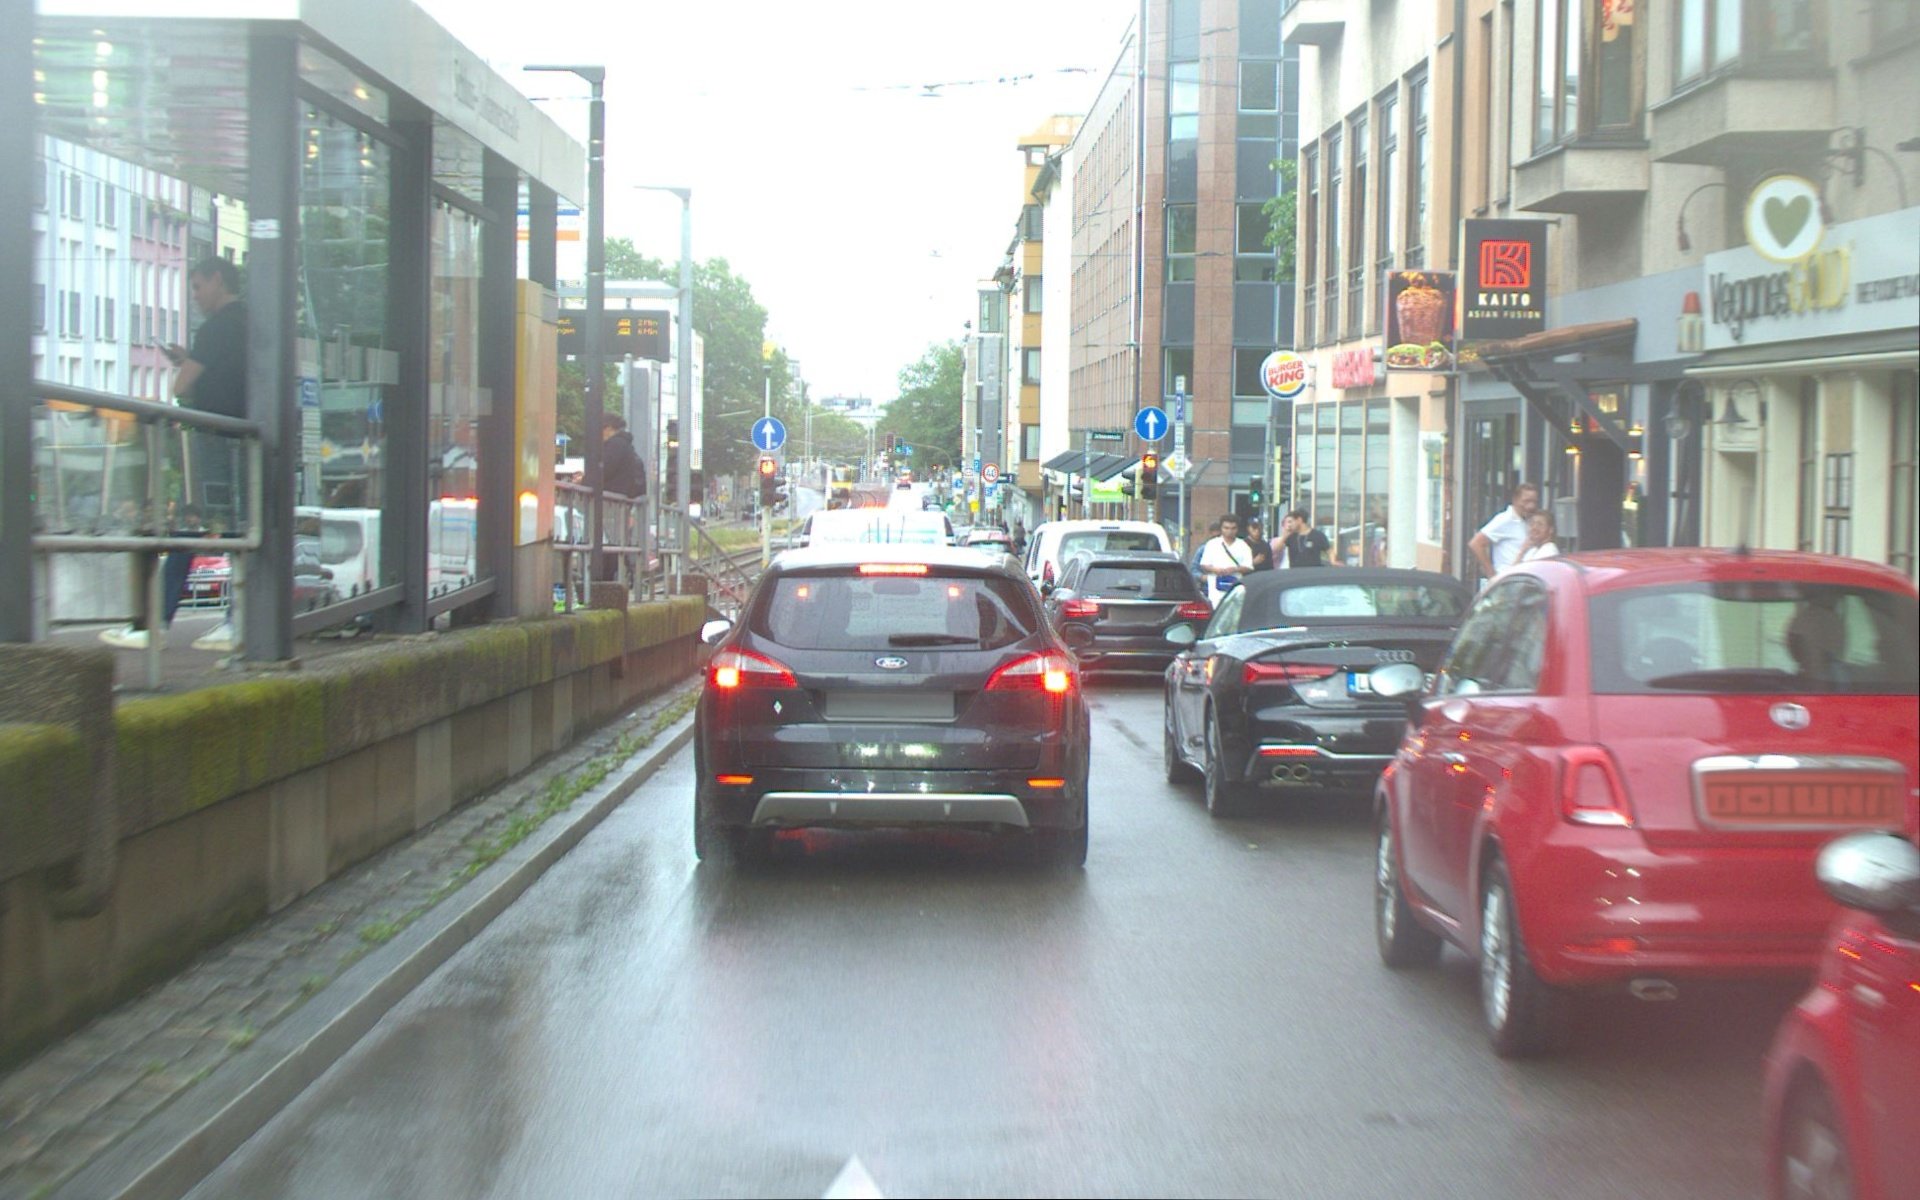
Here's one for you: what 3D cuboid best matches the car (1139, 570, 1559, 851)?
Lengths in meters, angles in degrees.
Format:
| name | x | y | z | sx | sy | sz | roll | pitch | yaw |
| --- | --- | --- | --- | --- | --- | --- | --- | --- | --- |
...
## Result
| name | x | y | z | sx | sy | sz | roll | pitch | yaw |
| --- | --- | --- | --- | --- | --- | --- | --- | --- | --- |
| car | 2.173 | 0.570 | 20.363 | 1.906 | 1.457 | 4.246 | 0 | 1 | -1 |

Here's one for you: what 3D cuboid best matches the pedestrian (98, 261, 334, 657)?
| name | x | y | z | sx | sy | sz | roll | pitch | yaw |
| --- | --- | --- | --- | --- | --- | --- | --- | --- | --- |
| pedestrian | -3.303 | -0.620 | 15.327 | 0.916 | 1.718 | 0.701 | 0 | 1 | -3 |

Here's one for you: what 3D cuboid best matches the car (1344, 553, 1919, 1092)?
| name | x | y | z | sx | sy | sz | roll | pitch | yaw |
| --- | --- | --- | --- | --- | --- | --- | --- | --- | --- |
| car | 2.261 | 0.581 | 11.037 | 1.645 | 1.457 | 3.414 | 0 | 1 | 0 |

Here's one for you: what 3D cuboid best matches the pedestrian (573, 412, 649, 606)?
| name | x | y | z | sx | sy | sz | roll | pitch | yaw |
| --- | --- | --- | --- | --- | --- | --- | --- | --- | --- |
| pedestrian | -2.916 | -0.757 | 28.774 | 0.583 | 1.604 | 0.701 | 0 | 1 | -3 |

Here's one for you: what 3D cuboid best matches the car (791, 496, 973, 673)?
| name | x | y | z | sx | sy | sz | roll | pitch | yaw |
| --- | --- | --- | --- | --- | --- | --- | --- | --- | --- |
| car | -0.835 | -0.201 | 38.460 | 1.906 | 1.858 | 4.574 | 0 | 1 | 0 |

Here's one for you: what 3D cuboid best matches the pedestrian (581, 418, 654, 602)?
| name | x | y | z | sx | sy | sz | roll | pitch | yaw |
| --- | --- | --- | --- | --- | --- | --- | --- | --- | --- |
| pedestrian | -2.933 | -0.767 | 29.481 | 0.583 | 1.552 | 0.701 | 0 | 1 | -3 |

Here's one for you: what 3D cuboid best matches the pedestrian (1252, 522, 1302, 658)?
| name | x | y | z | sx | sy | sz | roll | pitch | yaw |
| --- | --- | --- | --- | --- | --- | --- | --- | --- | --- |
| pedestrian | 3.998 | -0.130 | 43.350 | 0.576 | 1.708 | 0.477 | 0 | 1 | 1 |

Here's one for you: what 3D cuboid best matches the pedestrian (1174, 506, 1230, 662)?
| name | x | y | z | sx | sy | sz | roll | pitch | yaw |
| --- | --- | --- | --- | --- | --- | --- | --- | --- | --- |
| pedestrian | 3.022 | -0.202 | 42.975 | 0.651 | 1.941 | 0.533 | 0 | 1 | 1 |

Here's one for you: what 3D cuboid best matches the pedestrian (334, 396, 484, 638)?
| name | x | y | z | sx | sy | sz | roll | pitch | yaw |
| --- | --- | --- | --- | --- | --- | --- | --- | --- | --- |
| pedestrian | -3.005 | -0.452 | 18.798 | 0.728 | 1.297 | 0.701 | 0 | 1 | -3 |

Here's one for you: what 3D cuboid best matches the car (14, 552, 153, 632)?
| name | x | y | z | sx | sy | sz | roll | pitch | yaw |
| --- | --- | --- | --- | --- | --- | --- | --- | --- | --- |
| car | -15.056 | -0.156 | 59.175 | 1.638 | 1.333 | 3.736 | 0 | 1 | -3 |

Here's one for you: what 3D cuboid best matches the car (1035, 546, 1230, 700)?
| name | x | y | z | sx | sy | sz | roll | pitch | yaw |
| --- | --- | --- | --- | --- | --- | --- | --- | --- | --- |
| car | 1.844 | 0.207 | 38.070 | 1.906 | 1.610 | 4.414 | 0 | 1 | 0 |

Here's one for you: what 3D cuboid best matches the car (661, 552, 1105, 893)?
| name | x | y | z | sx | sy | sz | roll | pitch | yaw |
| --- | --- | --- | --- | --- | --- | --- | --- | --- | --- |
| car | -0.343 | 0.503 | 16.517 | 1.906 | 1.457 | 3.445 | 0 | 1 | 0 |

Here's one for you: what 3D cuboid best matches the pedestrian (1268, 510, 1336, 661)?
| name | x | y | z | sx | sy | sz | roll | pitch | yaw |
| --- | --- | --- | --- | --- | --- | --- | --- | --- | --- |
| pedestrian | 4.121 | -0.176 | 41.459 | 0.756 | 1.813 | 0.588 | 0 | 1 | 1 |

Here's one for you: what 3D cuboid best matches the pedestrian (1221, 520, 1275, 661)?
| name | x | y | z | sx | sy | sz | roll | pitch | yaw |
| --- | --- | --- | --- | --- | --- | --- | --- | --- | --- |
| pedestrian | 3.515 | -0.117 | 41.954 | 0.610 | 1.708 | 0.581 | 0 | 1 | 1 |

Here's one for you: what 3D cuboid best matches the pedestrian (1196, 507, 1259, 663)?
| name | x | y | z | sx | sy | sz | roll | pitch | yaw |
| --- | --- | --- | --- | --- | --- | --- | --- | --- | --- |
| pedestrian | 3.212 | -0.183 | 41.329 | 0.695 | 1.848 | 0.652 | 0 | 1 | 1 |

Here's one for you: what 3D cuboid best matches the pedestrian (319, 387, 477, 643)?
| name | x | y | z | sx | sy | sz | roll | pitch | yaw |
| --- | --- | --- | --- | --- | --- | --- | --- | --- | --- |
| pedestrian | -2.902 | -0.438 | 17.808 | 0.728 | 1.297 | 0.701 | 0 | 1 | -3 |

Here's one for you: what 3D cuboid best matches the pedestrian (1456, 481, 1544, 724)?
| name | x | y | z | sx | sy | sz | roll | pitch | yaw |
| --- | --- | --- | --- | --- | --- | --- | --- | --- | --- |
| pedestrian | 4.178 | 0.015 | 26.608 | 0.528 | 1.852 | 0.557 | 0 | 1 | -8 |

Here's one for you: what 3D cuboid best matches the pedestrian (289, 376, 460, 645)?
| name | x | y | z | sx | sy | sz | roll | pitch | yaw |
| --- | --- | --- | --- | --- | --- | --- | --- | --- | --- |
| pedestrian | -2.890 | -0.440 | 17.019 | 0.728 | 1.297 | 0.701 | 0 | 1 | -1 |

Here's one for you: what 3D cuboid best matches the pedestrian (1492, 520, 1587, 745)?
| name | x | y | z | sx | sy | sz | roll | pitch | yaw |
| --- | --- | --- | --- | --- | --- | --- | --- | --- | --- |
| pedestrian | 4.370 | 0.238 | 25.929 | 0.544 | 1.675 | 0.596 | 0 | 1 | -8 |

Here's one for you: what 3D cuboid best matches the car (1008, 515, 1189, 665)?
| name | x | y | z | sx | sy | sz | roll | pitch | yaw |
| --- | --- | --- | --- | --- | --- | --- | --- | --- | --- |
| car | 1.703 | -0.154 | 43.861 | 1.906 | 1.800 | 4.778 | 0 | 1 | -3 |

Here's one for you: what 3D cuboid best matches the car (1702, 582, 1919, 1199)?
| name | x | y | z | sx | sy | sz | roll | pitch | yaw |
| --- | --- | --- | --- | --- | --- | --- | --- | --- | --- |
| car | 2.349 | 0.721 | 5.124 | 1.716 | 1.457 | 3.445 | 0 | 1 | 0 |

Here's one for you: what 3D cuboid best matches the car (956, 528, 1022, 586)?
| name | x | y | z | sx | sy | sz | roll | pitch | yaw |
| --- | --- | --- | --- | --- | --- | --- | --- | --- | --- |
| car | 0.790 | -1.174 | 92.675 | 1.698 | 1.474 | 3.867 | -2 | 1 | 1 |
